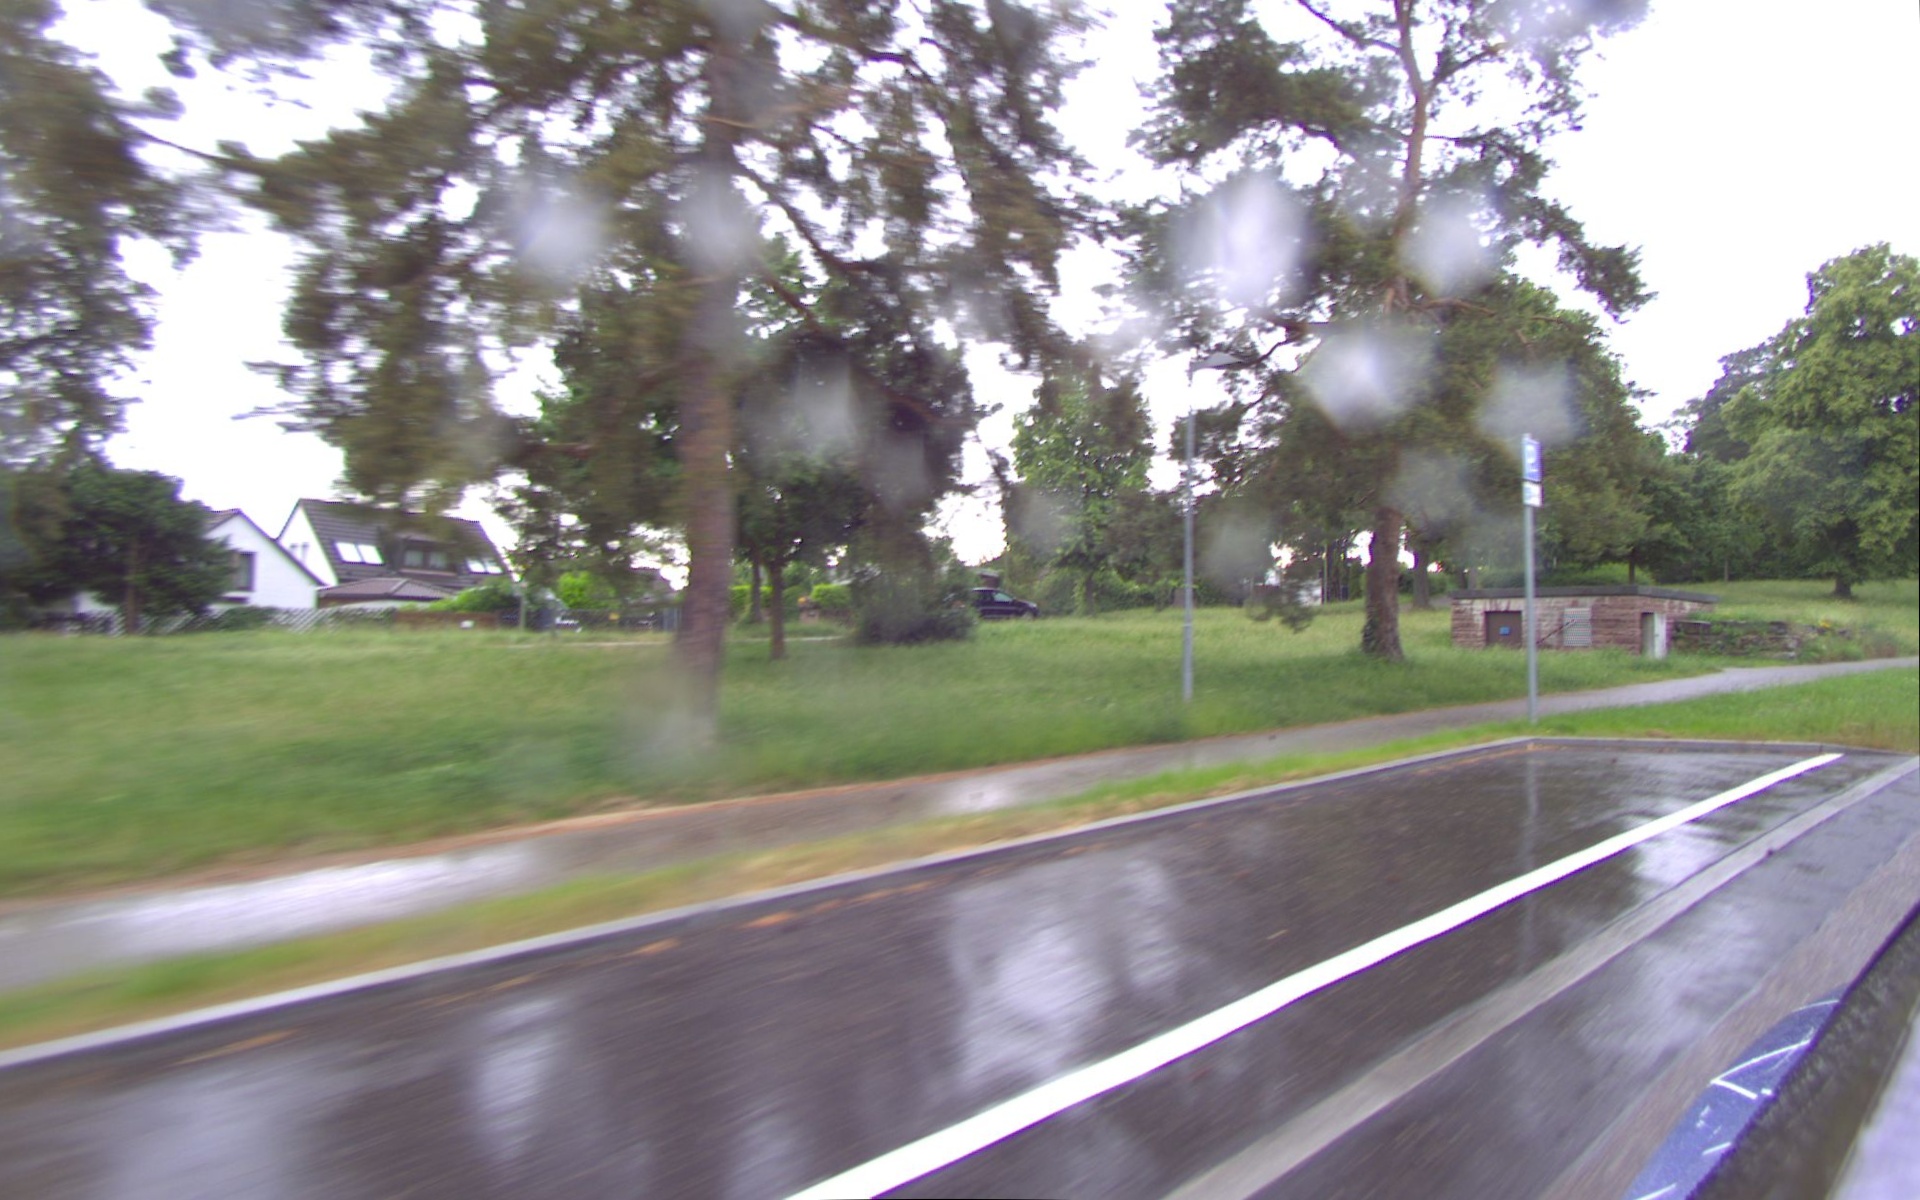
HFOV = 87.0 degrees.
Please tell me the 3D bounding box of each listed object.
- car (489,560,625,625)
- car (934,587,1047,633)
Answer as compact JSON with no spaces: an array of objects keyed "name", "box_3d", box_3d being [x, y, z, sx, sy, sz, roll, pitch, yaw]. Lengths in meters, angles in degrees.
[{"name":"car","box_3d":[-17.485,-0.350,43.739,6.656,2.530,2.575,2,-2,40]},{"name":"car","box_3d":[1.170,0.369,38.638,3.918,1.673,1.834,0,0,-27]}]
